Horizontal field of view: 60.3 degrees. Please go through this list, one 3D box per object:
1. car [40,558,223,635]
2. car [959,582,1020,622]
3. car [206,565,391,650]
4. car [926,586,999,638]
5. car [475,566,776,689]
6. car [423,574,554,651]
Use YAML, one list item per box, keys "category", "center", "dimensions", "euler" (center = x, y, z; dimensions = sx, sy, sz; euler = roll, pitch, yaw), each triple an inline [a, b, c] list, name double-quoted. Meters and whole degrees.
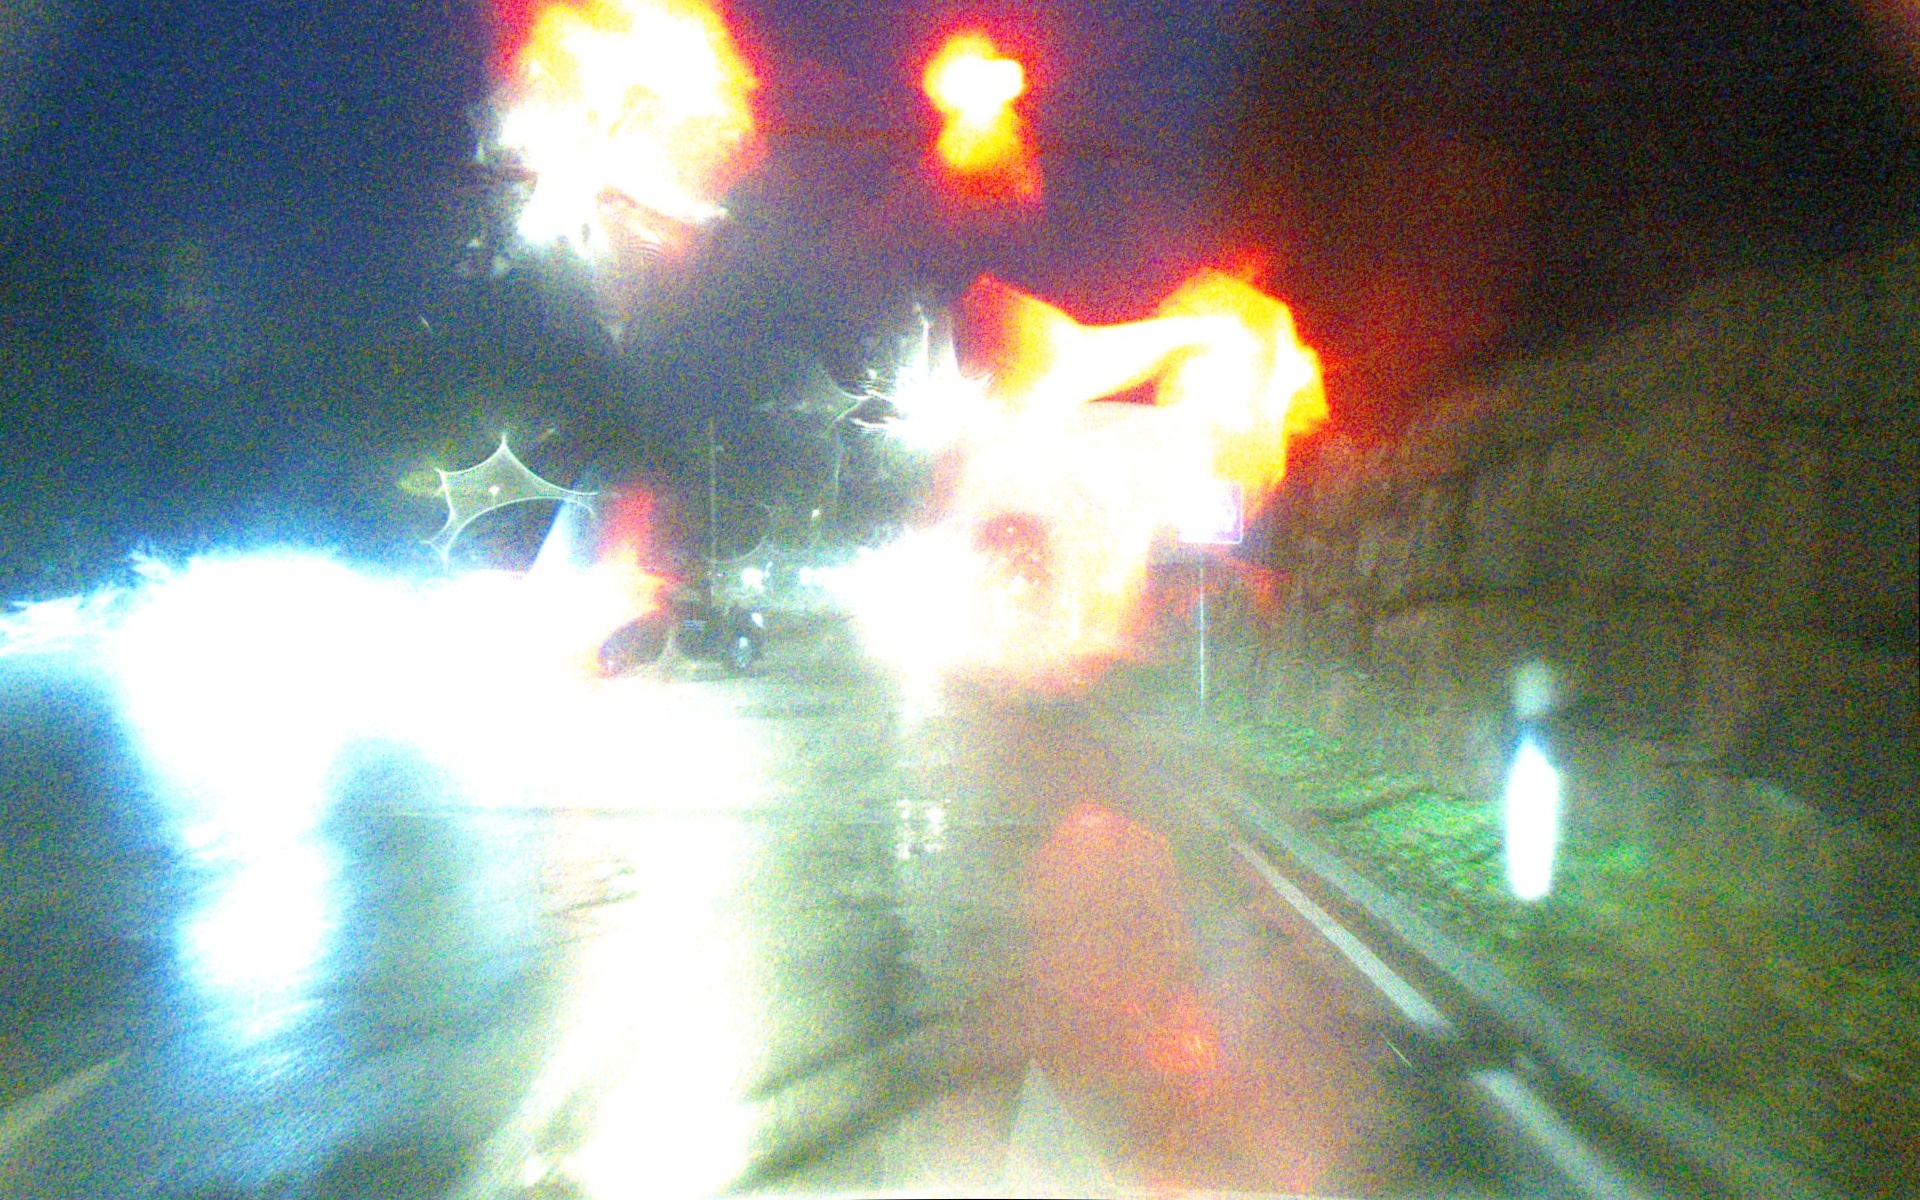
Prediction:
- category: "car"
  center: [-21.038, -0.125, 42.051]
  dimensions: [3.957, 1.863, 1.699]
  euler: [-1, 1, -37]
- category: "car"
  center: [0.989, 0.073, 58.171]
  dimensions: [2.064, 1.363, 4.294]
  euler: [0, 0, 0]
- category: "car"
  center: [-13.252, 0.116, 33.490]
  dimensions: [1.755, 1.599, 4.914]
  euler: [0, 1, 0]
- category: "car"
  center: [0.076, 0.359, 48.977]
  dimensions: [2.060, 1.464, 4.000]
  euler: [0, 0, 0]
- category: "car"
  center: [-4.813, 0.381, 24.267]
  dimensions: [1.961, 1.639, 4.086]
  euler: [0, -1, 37]
- category: "car"
  center: [-10.376, 0.240, 36.707]
  dimensions: [1.664, 1.599, 4.710]
  euler: [0, 1, -2]
